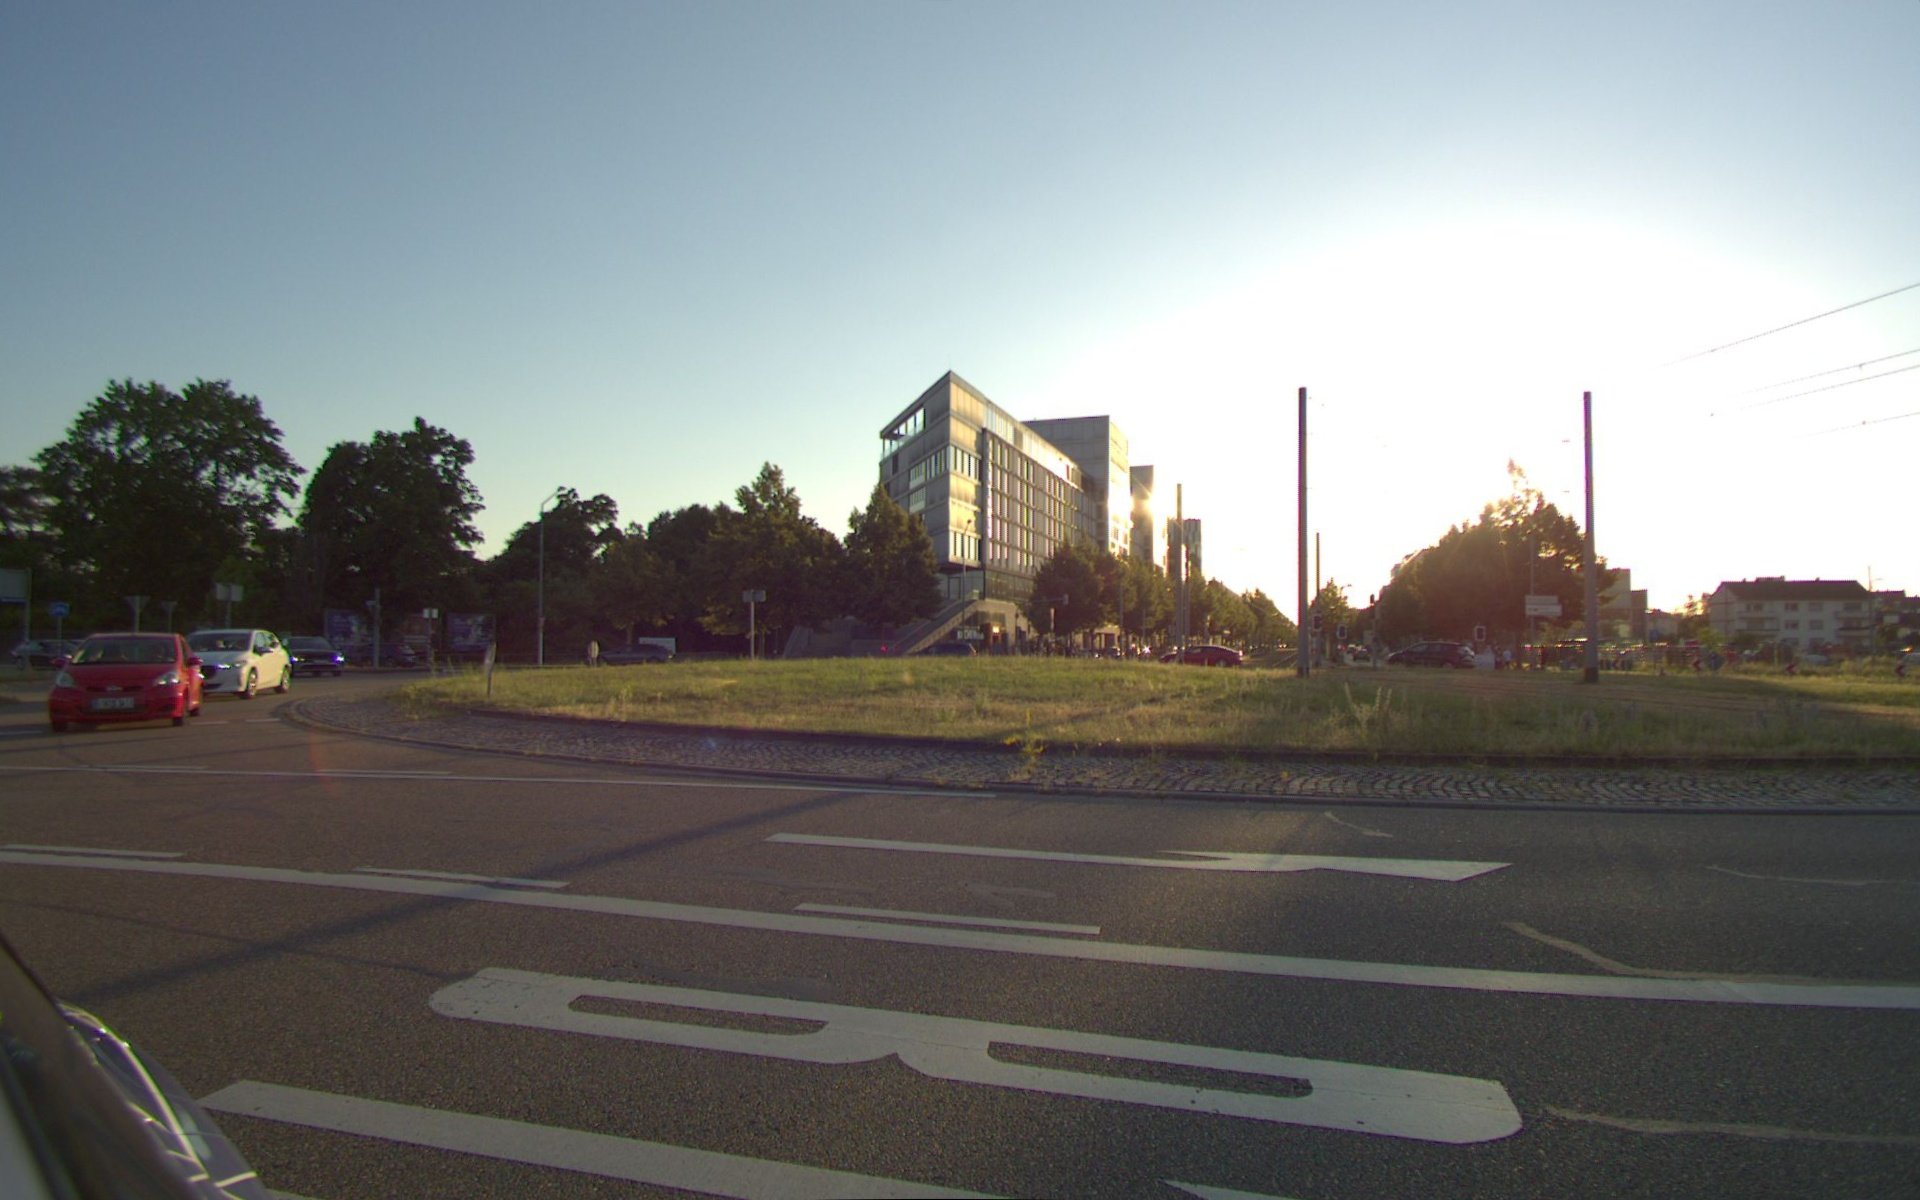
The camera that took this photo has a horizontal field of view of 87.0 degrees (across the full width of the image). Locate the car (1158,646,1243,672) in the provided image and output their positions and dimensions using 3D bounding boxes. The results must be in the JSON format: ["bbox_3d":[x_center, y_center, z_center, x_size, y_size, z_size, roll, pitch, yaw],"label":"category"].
[{"bbox_3d":[13.764,3.354,57.903,4.562,1.443,1.931,-1,-3,21],"label":"car"}]

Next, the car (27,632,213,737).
[{"bbox_3d":[-13.198,1.258,16.149,1.666,1.432,4.223,1,-3,-32],"label":"car"}]

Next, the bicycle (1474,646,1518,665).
[{"bbox_3d":[34.979,3.623,66.034,2.406,1.176,0.745,-2,-4,38],"label":"bicycle"}]

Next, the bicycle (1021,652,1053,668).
[{"bbox_3d":[5.799,4.504,76.027,2.383,1.176,0.752,0,-3,11],"label":"bicycle"}]

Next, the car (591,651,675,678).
[{"bbox_3d":[-18.250,3.620,56.722,4.329,1.443,1.950,0,-3,-13],"label":"car"}]

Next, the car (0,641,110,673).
[{"bbox_3d":[-44.702,2.777,49.950,4.204,1.512,1.837,0,-3,8],"label":"car"}]

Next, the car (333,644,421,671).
[{"bbox_3d":[-32.121,3.161,55.839,3.693,1.443,1.947,0,-3,-5],"label":"car"}]

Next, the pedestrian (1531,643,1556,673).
[{"bbox_3d":[37.008,3.685,64.175,1.161,1.841,0.966,-2,-4,42],"label":"pedestrian"}]

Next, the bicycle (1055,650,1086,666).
[{"bbox_3d":[8.457,4.436,77.488,2.381,1.176,0.753,0,-3,8],"label":"bicycle"}]

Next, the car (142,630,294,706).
[{"bbox_3d":[-16.774,1.494,23.117,1.730,1.570,4.228,1,-3,-21],"label":"car"}]

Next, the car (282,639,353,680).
[{"bbox_3d":[-25.685,2.348,40.572,1.796,1.570,4.228,1,-3,-25],"label":"car"}]

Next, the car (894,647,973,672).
[{"bbox_3d":[-1.583,3.467,59.264,4.331,1.443,1.949,0,-3,-11],"label":"car"}]

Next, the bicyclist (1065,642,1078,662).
[{"bbox_3d":[8.527,3.991,77.482,0.967,1.537,0.753,0,-3,7],"label":"bicyclist"}]

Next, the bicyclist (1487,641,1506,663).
[{"bbox_3d":[34.980,3.381,66.022,0.977,1.405,0.745,-2,-4,38],"label":"bicyclist"}]

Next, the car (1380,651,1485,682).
[{"bbox_3d":[23.416,3.286,50.324,1.913,1.443,4.329,2,-3,-38],"label":"car"}]
